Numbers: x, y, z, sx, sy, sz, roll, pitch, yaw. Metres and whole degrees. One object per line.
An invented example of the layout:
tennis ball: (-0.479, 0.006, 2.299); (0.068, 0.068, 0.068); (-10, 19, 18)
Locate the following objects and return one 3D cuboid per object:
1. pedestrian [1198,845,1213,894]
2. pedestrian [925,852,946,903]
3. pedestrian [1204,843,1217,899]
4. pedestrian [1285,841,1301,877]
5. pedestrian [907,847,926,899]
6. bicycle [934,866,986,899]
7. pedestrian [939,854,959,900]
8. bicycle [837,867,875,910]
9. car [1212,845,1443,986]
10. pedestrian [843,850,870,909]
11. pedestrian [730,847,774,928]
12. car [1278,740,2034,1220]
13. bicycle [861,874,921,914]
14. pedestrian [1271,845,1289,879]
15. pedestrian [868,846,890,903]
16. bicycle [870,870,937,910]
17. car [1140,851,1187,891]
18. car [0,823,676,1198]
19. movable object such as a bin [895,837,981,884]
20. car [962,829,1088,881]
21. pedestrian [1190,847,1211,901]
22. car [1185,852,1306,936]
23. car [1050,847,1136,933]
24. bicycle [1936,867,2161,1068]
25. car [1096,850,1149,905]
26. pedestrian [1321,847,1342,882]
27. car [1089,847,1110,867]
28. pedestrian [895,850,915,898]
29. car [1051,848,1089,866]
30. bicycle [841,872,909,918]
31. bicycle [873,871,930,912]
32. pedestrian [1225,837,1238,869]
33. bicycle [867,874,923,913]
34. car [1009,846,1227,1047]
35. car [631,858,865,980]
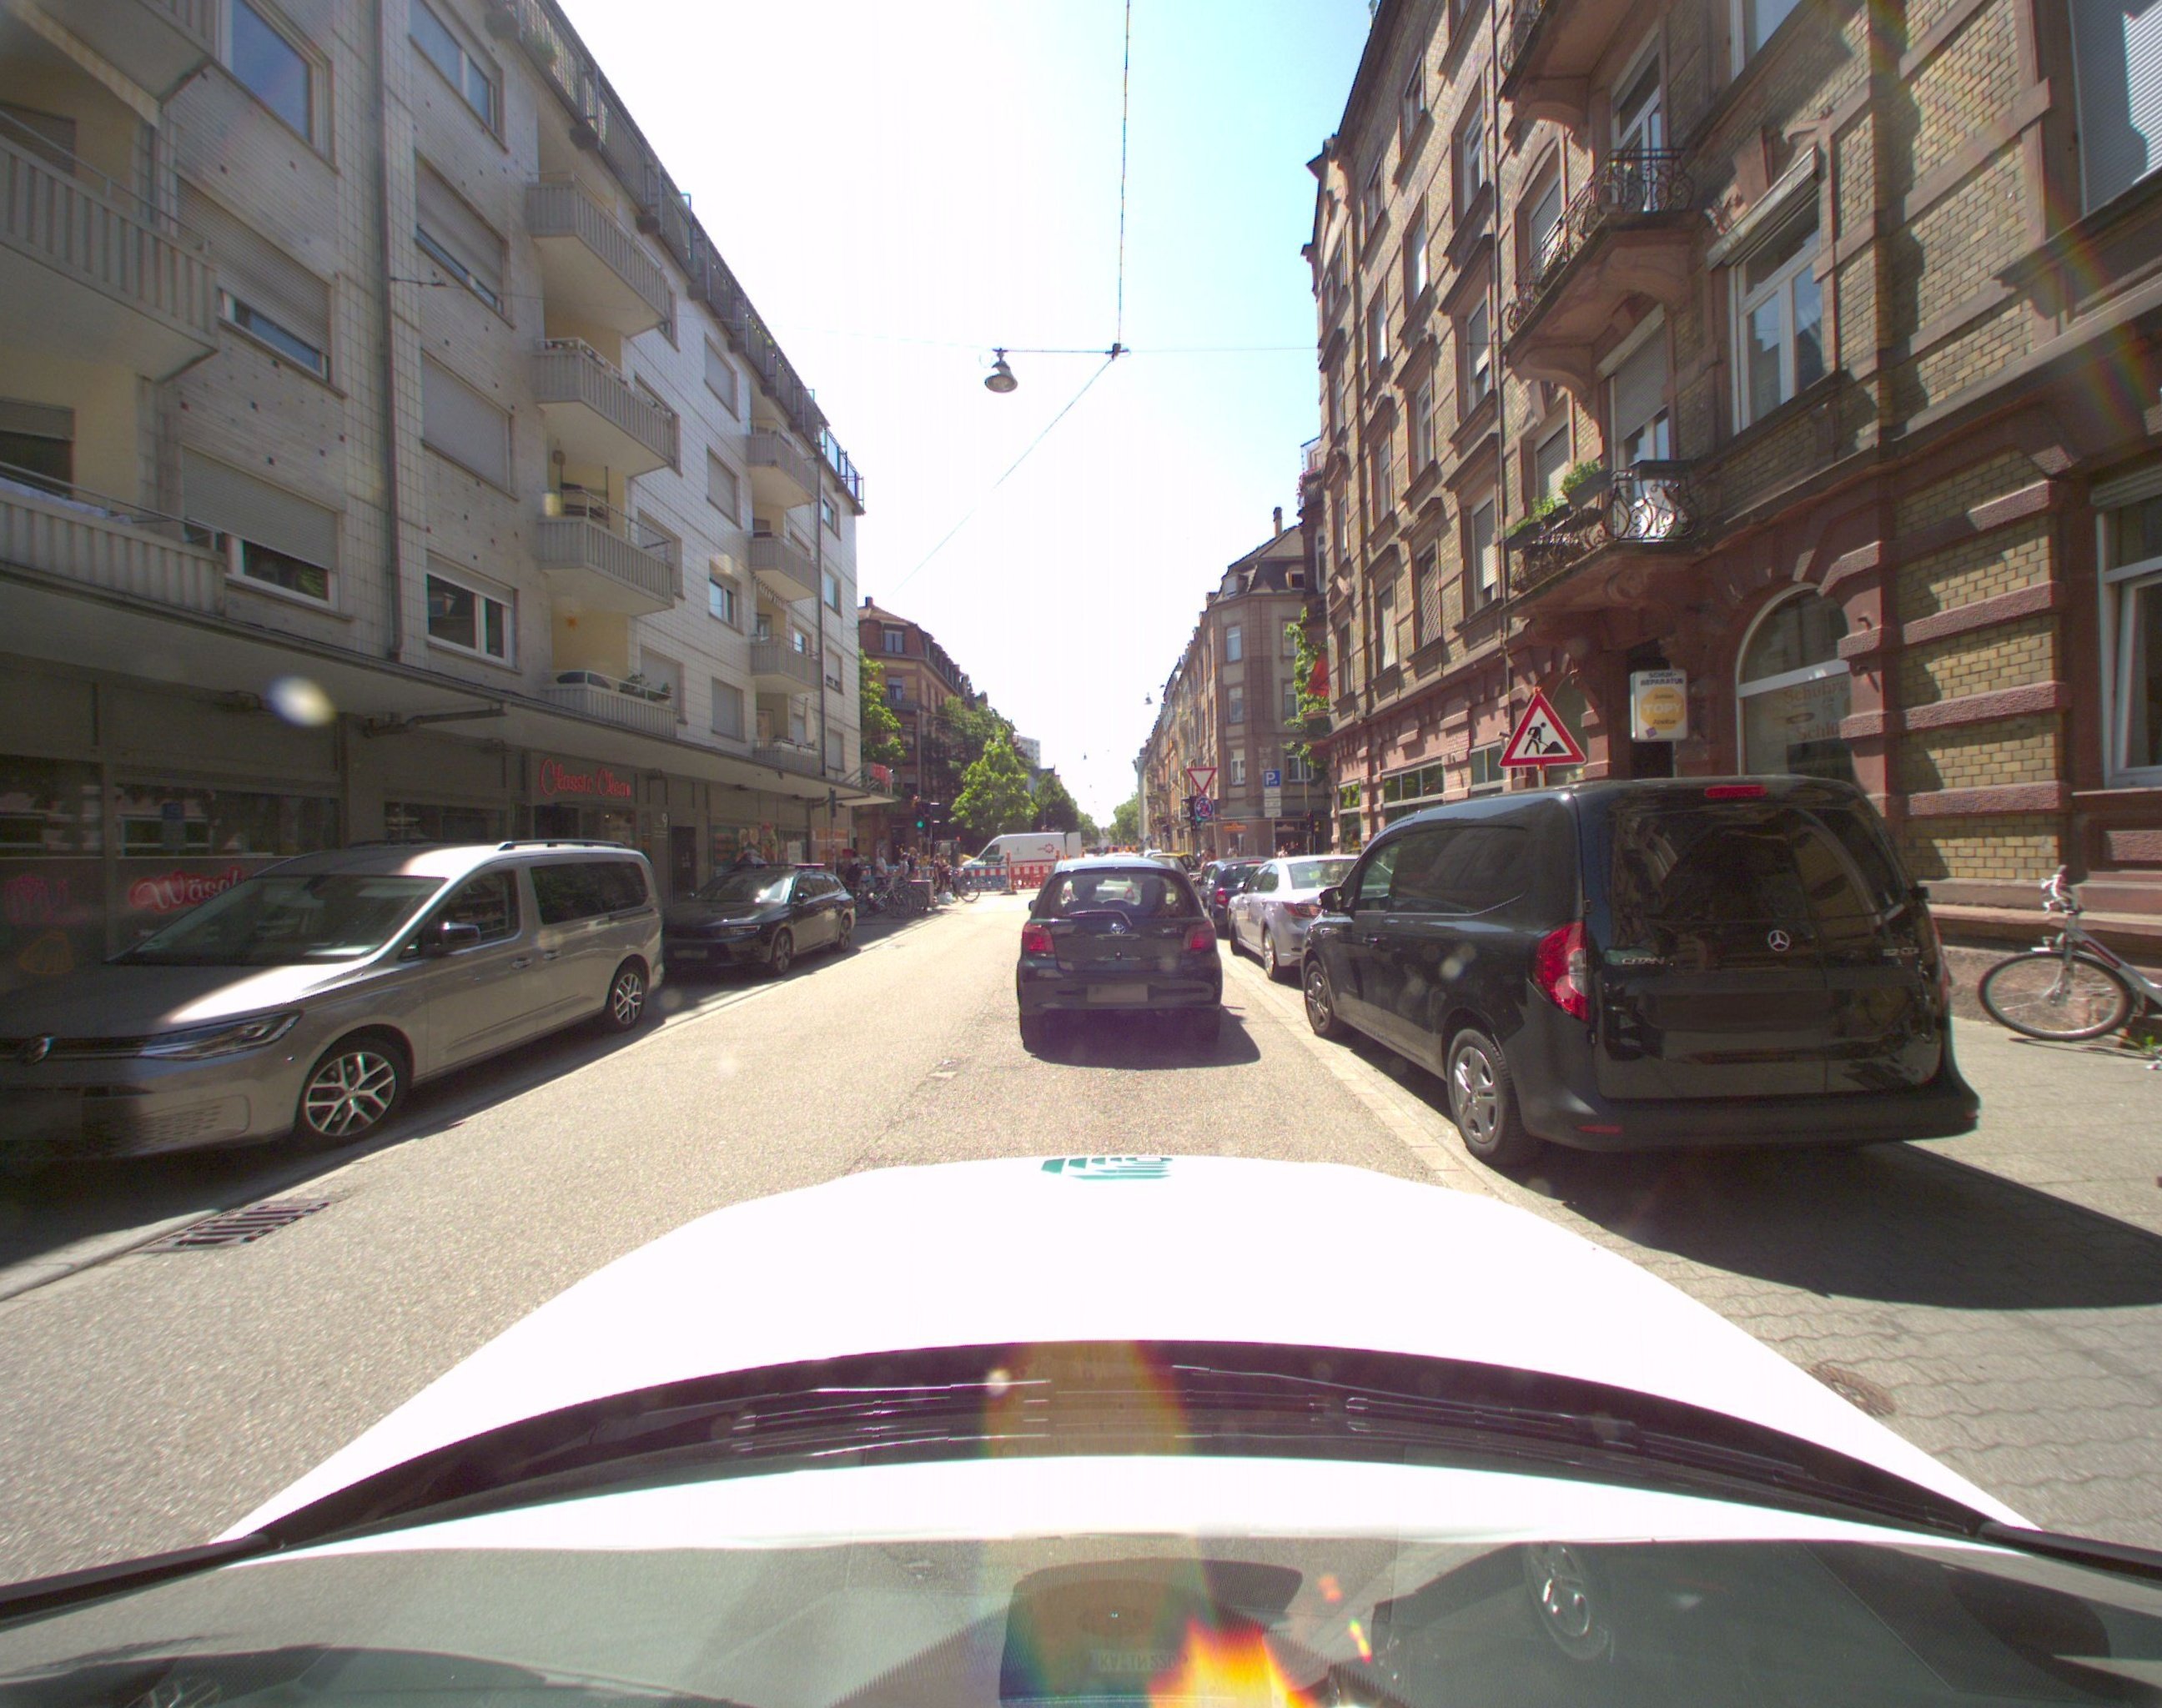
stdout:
pedestrian: (4.048, 0.495, 26.494); (0.457, 1.560, 0.480); (-2, 0, 7)
pedestrian: (-4.775, 0.756, 26.739); (0.539, 1.633, 0.511); (-2, 0, -1)
pedestrian: (3.902, 0.508, 24.572); (0.330, 1.675, 0.402); (-2, 0, 8)
pedestrian: (10.723, 0.247, 41.133); (0.574, 1.768, 0.470); (-4, 3, -7)
pedestrian: (-5.848, 0.661, 28.958); (0.507, 1.820, 0.599); (-2, 0, -1)
bicycle: (-4.216, 0.981, 28.250); (1.789, 1.119, 0.470); (0, 0, 23)
pedestrian: (-4.538, 0.771, 28.005); (0.491, 1.565, 0.462); (1, 1, 28)
bicycle: (-7.107, 1.077, 25.830); (0.533, 1.247, 2.013); (-2, 0, 2)
car: (3.020, 0.668, 11.023); (1.720, 1.432, 4.485); (-3, 0, 0)
pedestrian: (-7.114, 0.793, 25.812); (0.528, 1.797, 0.938); (-2, 0, 2)
pedestrian: (-7.193, 0.718, 17.826); (0.628, 1.726, 0.659); (-2, 0, 3)
car: (2.752, 0.488, 5.319); (1.819, 1.767, 4.337); (-3, 0, 0)
bicycle: (-5.053, 1.072, 21.716); (1.490, 1.030, 0.397); (1, 0, -3)
pedestrian: (10.006, 0.397, 40.998); (0.701, 1.645, 0.422); (-4, 3, -7)
pedestrian: (-6.402, 0.630, 25.844); (0.507, 1.770, 0.599); (-2, 0, -1)
bicycle: (-5.091, 1.030, 23.403); (1.794, 1.123, 0.577); (0, -1, -5)
car: (3.347, 0.647, 32.503); (1.618, 1.432, 3.669); (-3, 0, 8)
car: (-5.174, 0.754, 6.298); (1.783, 1.811, 4.697); (0, 0, -1)
movable object such as a bin: (-8.254, 0.343, 47.270); (4.523, 2.659, 1.957); (0, 0, 4)
car: (-2.990, 0.037, 44.460); (6.594, 2.751, 2.381); (0, 0, 2)
pedestrian: (3.526, 0.589, 24.014); (0.490, 1.543, 0.437); (-4, -1, 7)
car: (3.161, 0.717, 16.322); (1.622, 1.432, 3.660); (-3, 0, 0)
car: (0.256, 0.643, 16.380); (1.517, 1.521, 3.265); (-2, 0, 1)
bicycle: (6.278, 0.653, 4.941); (0.352, 1.103, 1.756); (-2, 0, 2)
car: (1.308, 0.683, 25.478); (1.516, 1.592, 3.267); (-2, 0, 3)
pedestrian: (11.868, 0.498, 38.627); (0.798, 1.623, 0.644); (-2, 0, 4)
car: (1.677, 0.256, 73.735); (1.748, 1.645, 4.379); (-5, 0, 2)
pedestrian: (-6.003, 0.676, 27.745); (0.507, 1.633, 0.599); (-2, 0, -1)
car: (-1.438, 0.394, 106.492); (4.581, 2.187, 1.983); (-1, 0, -26)
bicycle: (-5.247, 1.032, 20.774); (1.580, 1.139, 0.526); (1, 0, -3)
bicycle: (-5.007, 1.045, 22.743); (1.515, 1.117, 0.335); (1, 0, -3)
pedestrian: (8.282, -0.030, 44.757); (0.473, 1.733, 0.876); (-2, -1, 21)
bicycle: (-5.051, 1.063, 22.154); (1.444, 1.036, 0.335); (1, 0, -3)
car: (0.418, 0.699, 7.708); (1.606, 1.485, 3.245); (-1, 0, 5)
car: (-4.901, 0.852, 12.753); (1.663, 1.525, 4.466); (0, 0, 2)
